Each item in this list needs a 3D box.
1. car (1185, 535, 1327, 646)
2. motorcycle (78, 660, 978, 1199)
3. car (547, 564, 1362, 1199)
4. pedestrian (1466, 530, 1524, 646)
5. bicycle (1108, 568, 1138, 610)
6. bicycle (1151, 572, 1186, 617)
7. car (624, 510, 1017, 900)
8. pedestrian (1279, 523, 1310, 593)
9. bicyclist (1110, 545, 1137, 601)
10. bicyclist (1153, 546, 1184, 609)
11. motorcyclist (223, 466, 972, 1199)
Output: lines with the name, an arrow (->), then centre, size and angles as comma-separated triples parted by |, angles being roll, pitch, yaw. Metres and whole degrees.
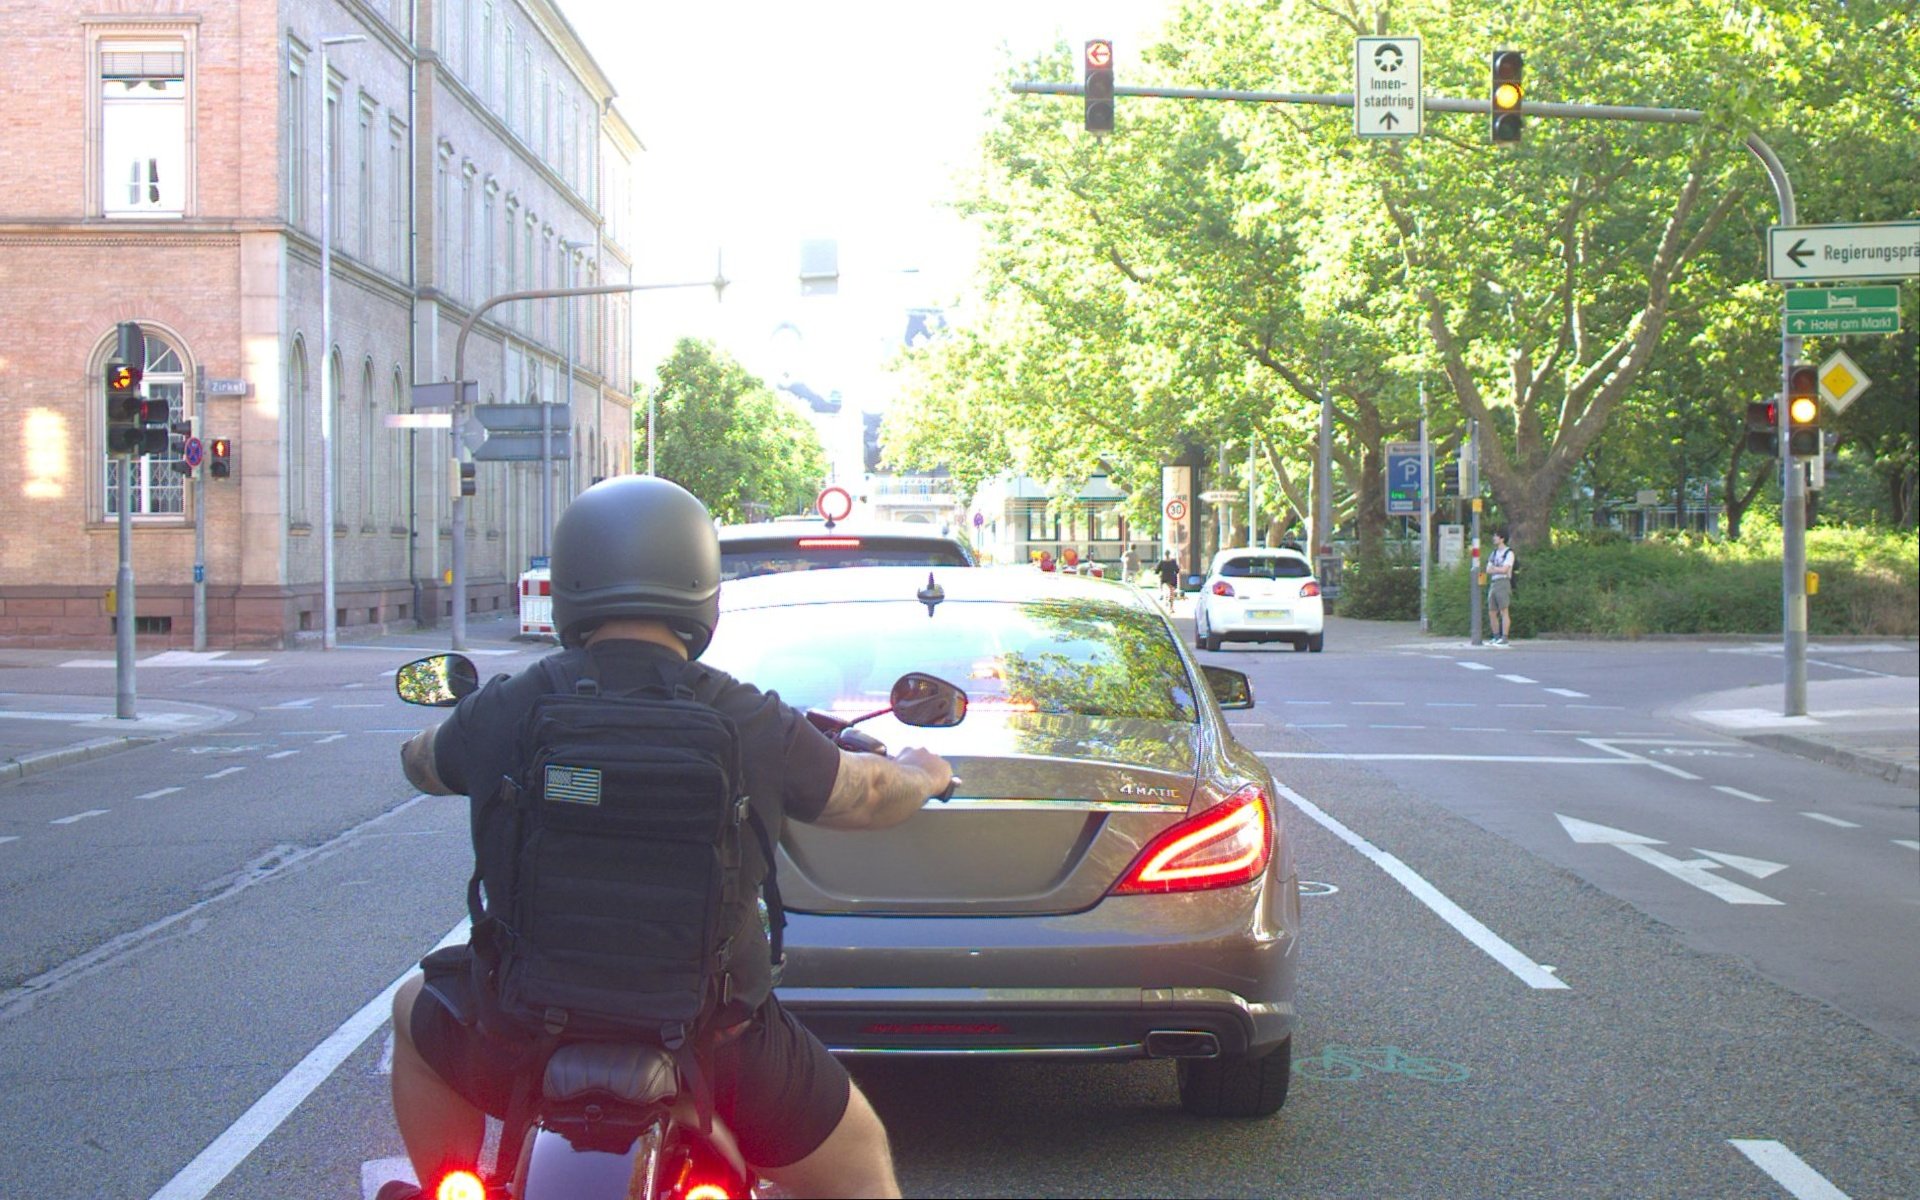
car -> 4.195, -0.151, 49.209 | 1.679, 1.493, 3.685 | 2, 1, 0
motorcycle -> -0.504, 0.791, 5.218 | 1.012, 1.302, 2.673 | 0, 1, -1
car -> -0.039, 0.631, 9.668 | 1.828, 1.415, 3.815 | 1, 1, -1
pedestrian -> 8.277, -0.191, 53.194 | 0.570, 1.768, 0.625 | 1, 0, -35
bicycle -> 4.494, -0.306, 94.900 | 0.656, 1.107, 2.186 | 2, 1, -1
bicycle -> 5.120, -0.139, 84.445 | 0.656, 1.066, 1.927 | 2, 1, -1
car -> -0.785, 0.432, 16.726 | 1.630, 1.645, 3.851 | 1, 1, -6
pedestrian -> 7.610, -0.957, 78.205 | 0.592, 1.573, 0.527 | 2, 0, 0
bicyclist -> 4.505, -0.736, 94.942 | 0.656, 1.525, 0.906 | 2, 0, -1
bicyclist -> 5.126, -0.545, 84.561 | 0.656, 1.525, 0.852 | 2, 0, -1
motorcyclist -> -0.499, 0.604, 5.369 | 1.012, 1.596, 1.406 | 0, 1, -1
